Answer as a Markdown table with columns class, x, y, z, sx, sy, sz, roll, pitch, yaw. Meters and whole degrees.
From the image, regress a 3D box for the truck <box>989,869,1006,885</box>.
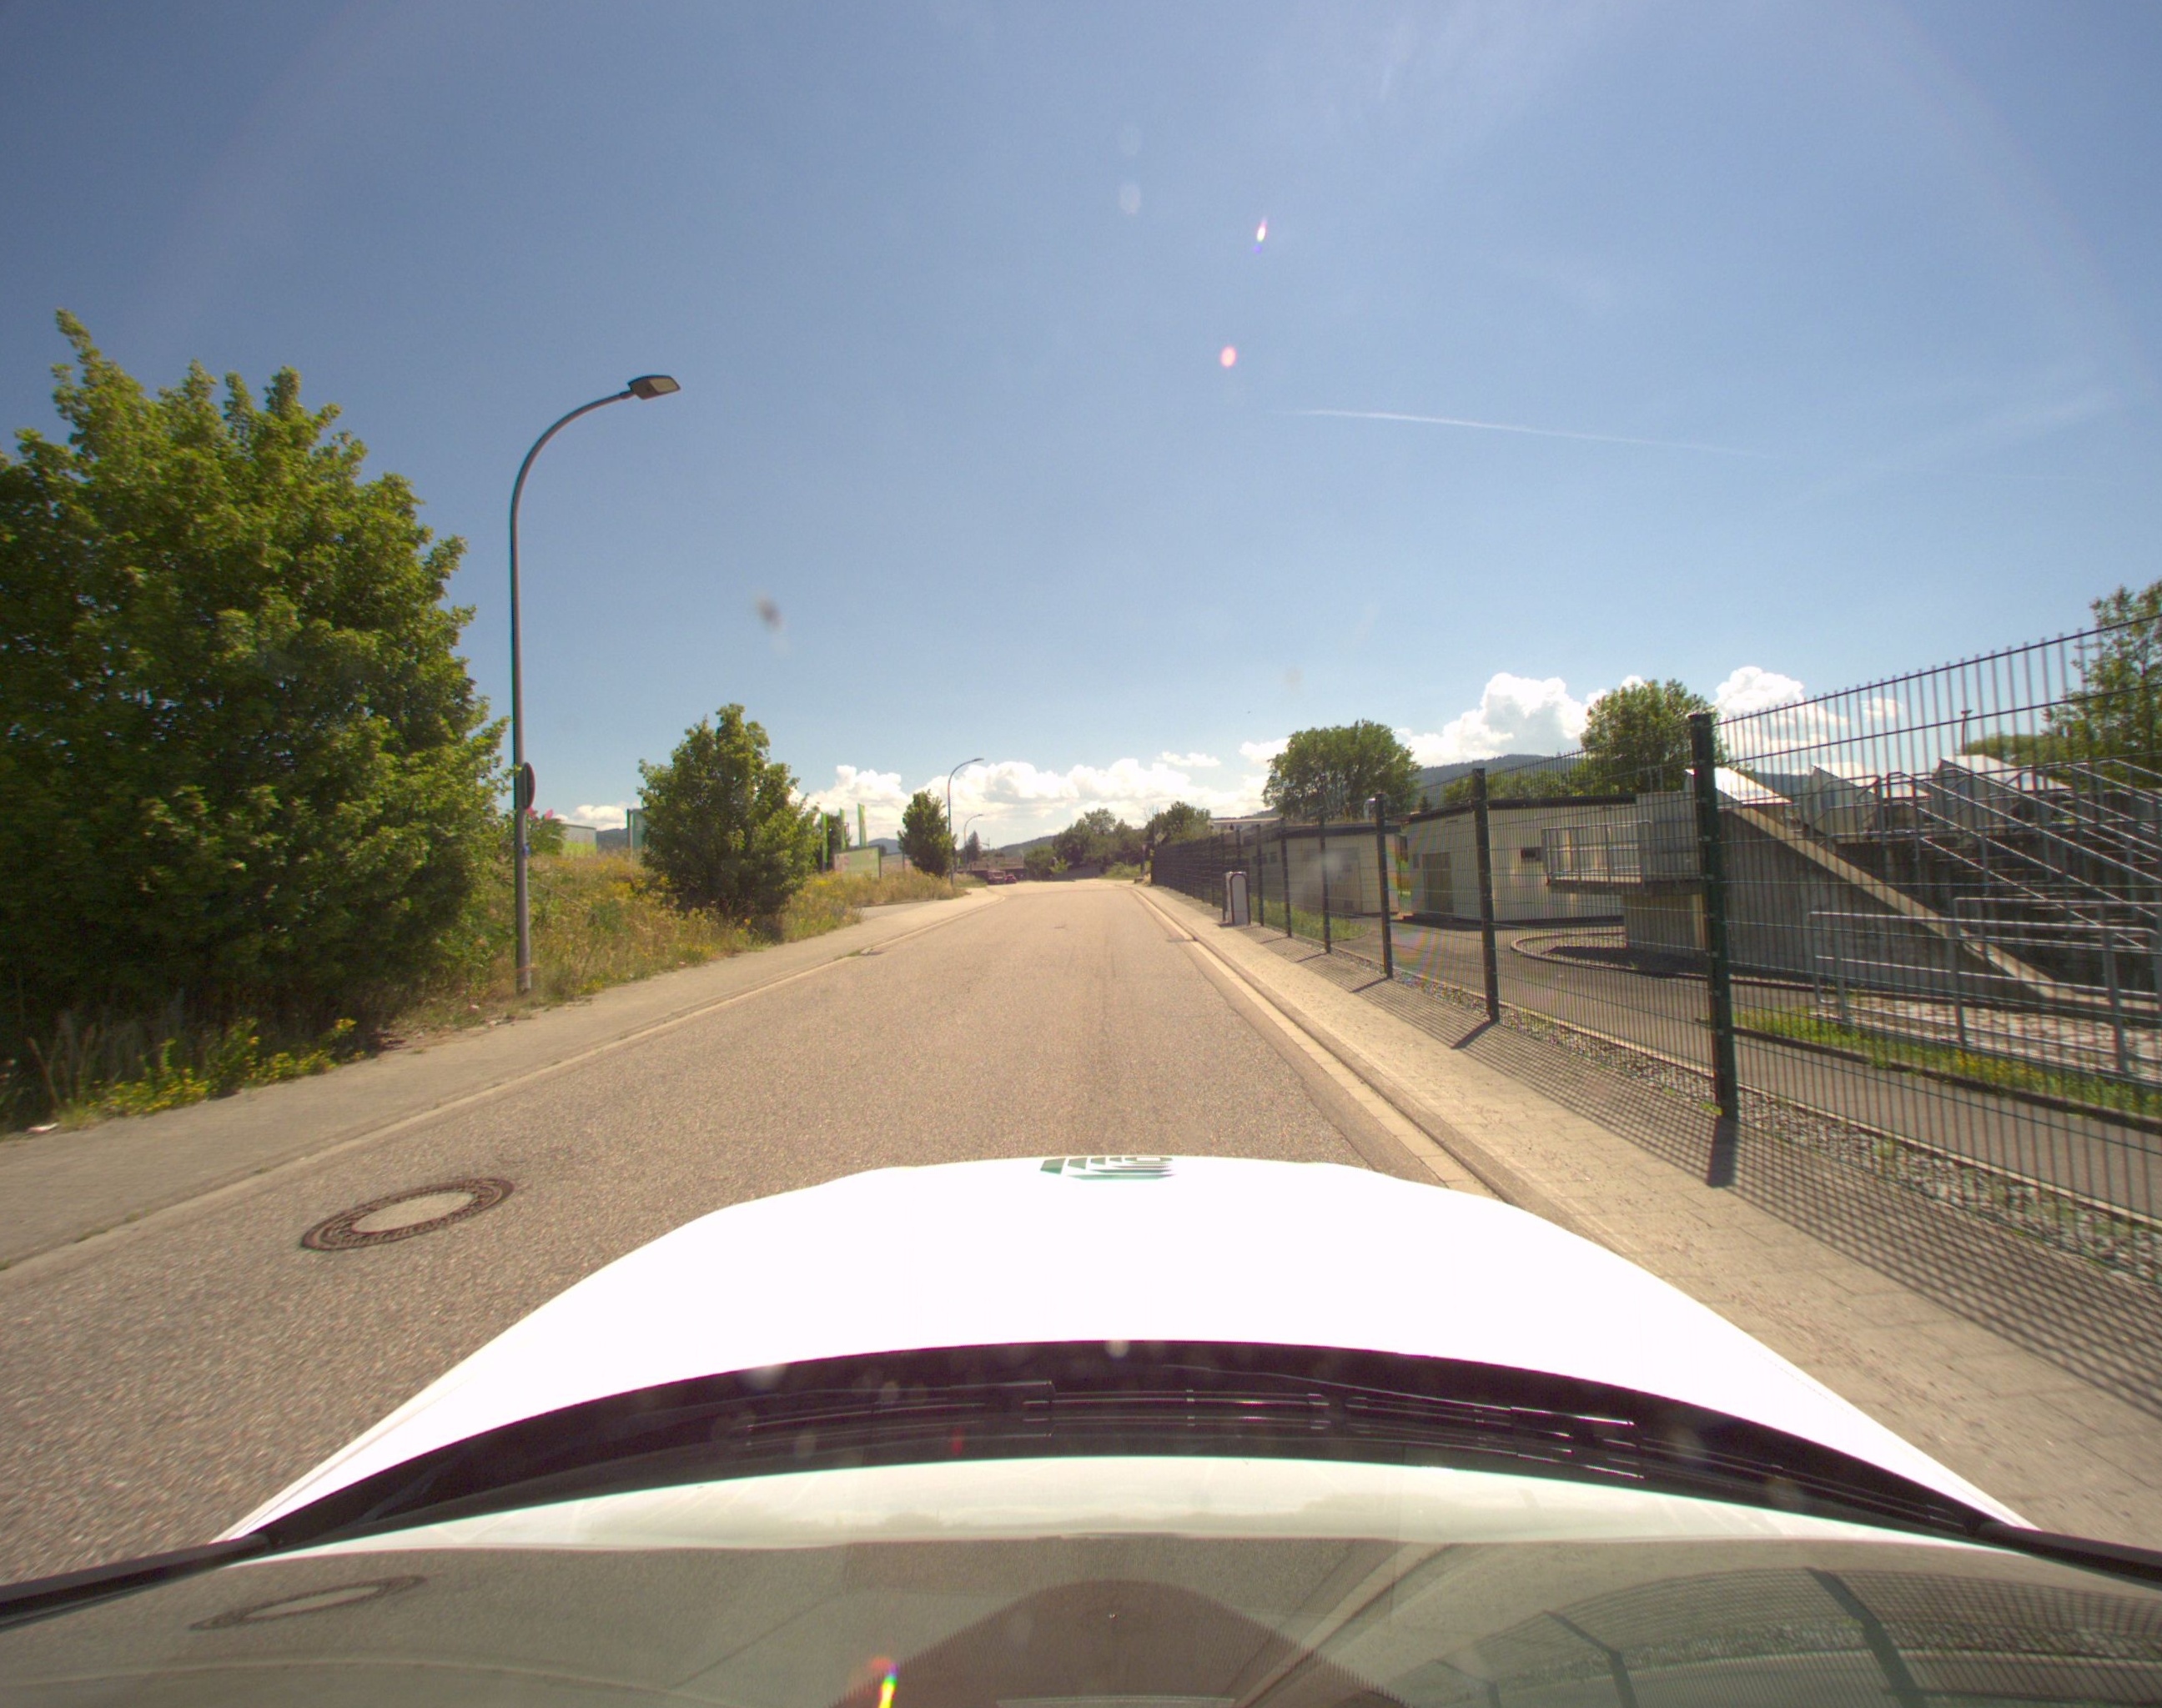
| class | x | y | z | sx | sy | sz | roll | pitch | yaw |
| --- | --- | --- | --- | --- | --- | --- | --- | --- | --- |
| truck | -15.169 | 4.116 | 148.225 | 2.682 | 2.772 | 6.070 | -1 | 0 | -9 |

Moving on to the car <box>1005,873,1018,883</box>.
| class | x | y | z | sx | sy | sz | roll | pitch | yaw |
| --- | --- | --- | --- | --- | --- | --- | --- | --- | --- |
| car | -10.733 | 3.634 | 125.233 | 1.775 | 1.448 | 3.441 | -1 | 0 | -9 |
